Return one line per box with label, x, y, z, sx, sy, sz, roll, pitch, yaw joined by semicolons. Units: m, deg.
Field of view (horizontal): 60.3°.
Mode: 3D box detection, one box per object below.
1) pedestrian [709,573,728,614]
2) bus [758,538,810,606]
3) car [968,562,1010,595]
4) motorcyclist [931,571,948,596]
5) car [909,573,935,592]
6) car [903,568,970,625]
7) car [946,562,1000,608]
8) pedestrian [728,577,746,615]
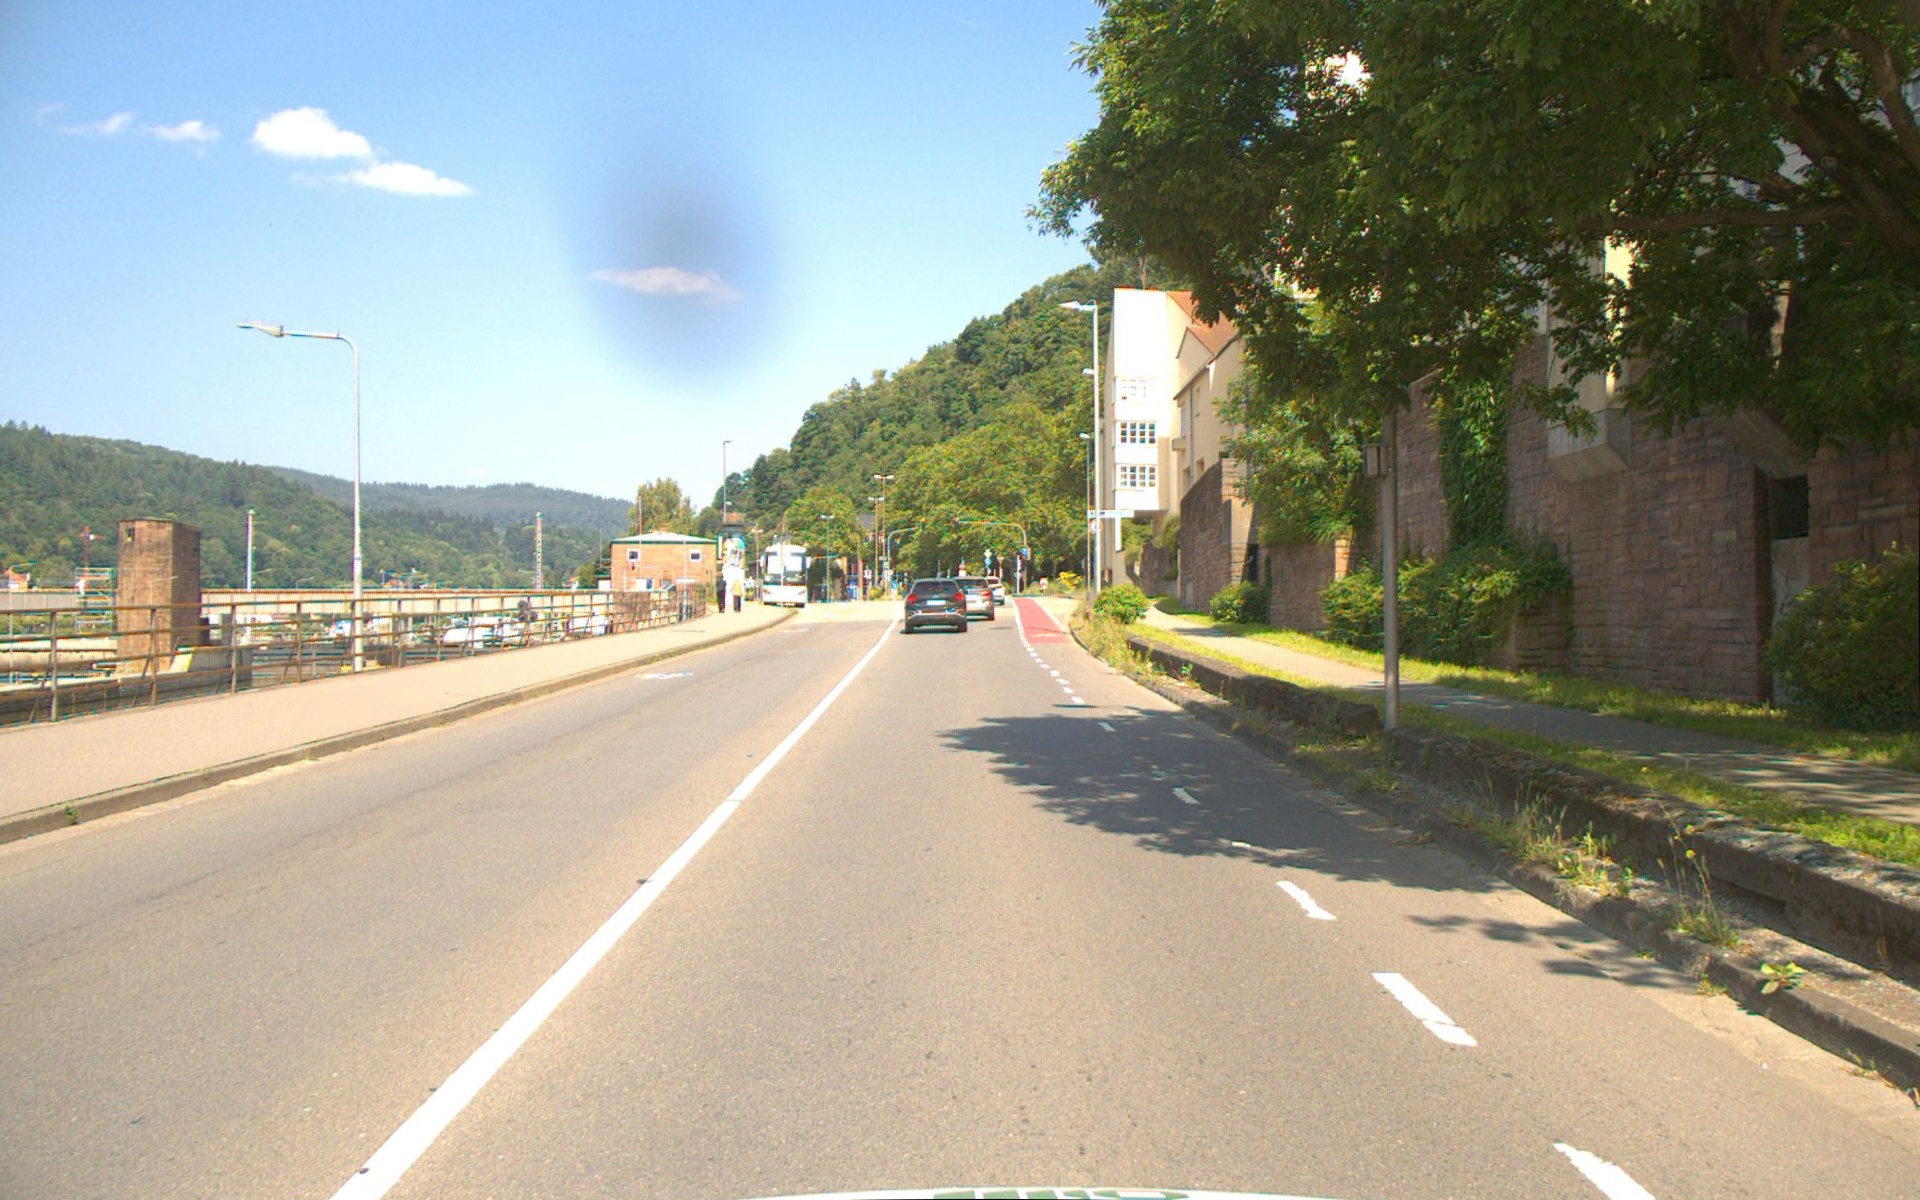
pedestrian;-10.307;-0.277;70.625;0.669;1.739;0.773;-1;0;-1
bus;-10.779;-1.629;102.010;2.899;3.867;13.228;-2;0;-6
car;1.395;-1.058;82.321;1.953;1.560;4.858;-1;0;-1
motorcyclist;-1.410;-1.146;113.556;1.054;1.713;1.156;-2;0;-1
car;-2.927;-1.369;127.649;1.829;1.382;3.998;-2;1;-3
car;-0.660;-0.105;47.384;1.831;1.540;4.150;-1;0;-1
car;0.424;-0.511;58.566;1.850;1.547;4.305;-1;0;-1
pedestrian;-9.794;-0.159;72.728;0.688;1.649;0.816;-1;0;-2
